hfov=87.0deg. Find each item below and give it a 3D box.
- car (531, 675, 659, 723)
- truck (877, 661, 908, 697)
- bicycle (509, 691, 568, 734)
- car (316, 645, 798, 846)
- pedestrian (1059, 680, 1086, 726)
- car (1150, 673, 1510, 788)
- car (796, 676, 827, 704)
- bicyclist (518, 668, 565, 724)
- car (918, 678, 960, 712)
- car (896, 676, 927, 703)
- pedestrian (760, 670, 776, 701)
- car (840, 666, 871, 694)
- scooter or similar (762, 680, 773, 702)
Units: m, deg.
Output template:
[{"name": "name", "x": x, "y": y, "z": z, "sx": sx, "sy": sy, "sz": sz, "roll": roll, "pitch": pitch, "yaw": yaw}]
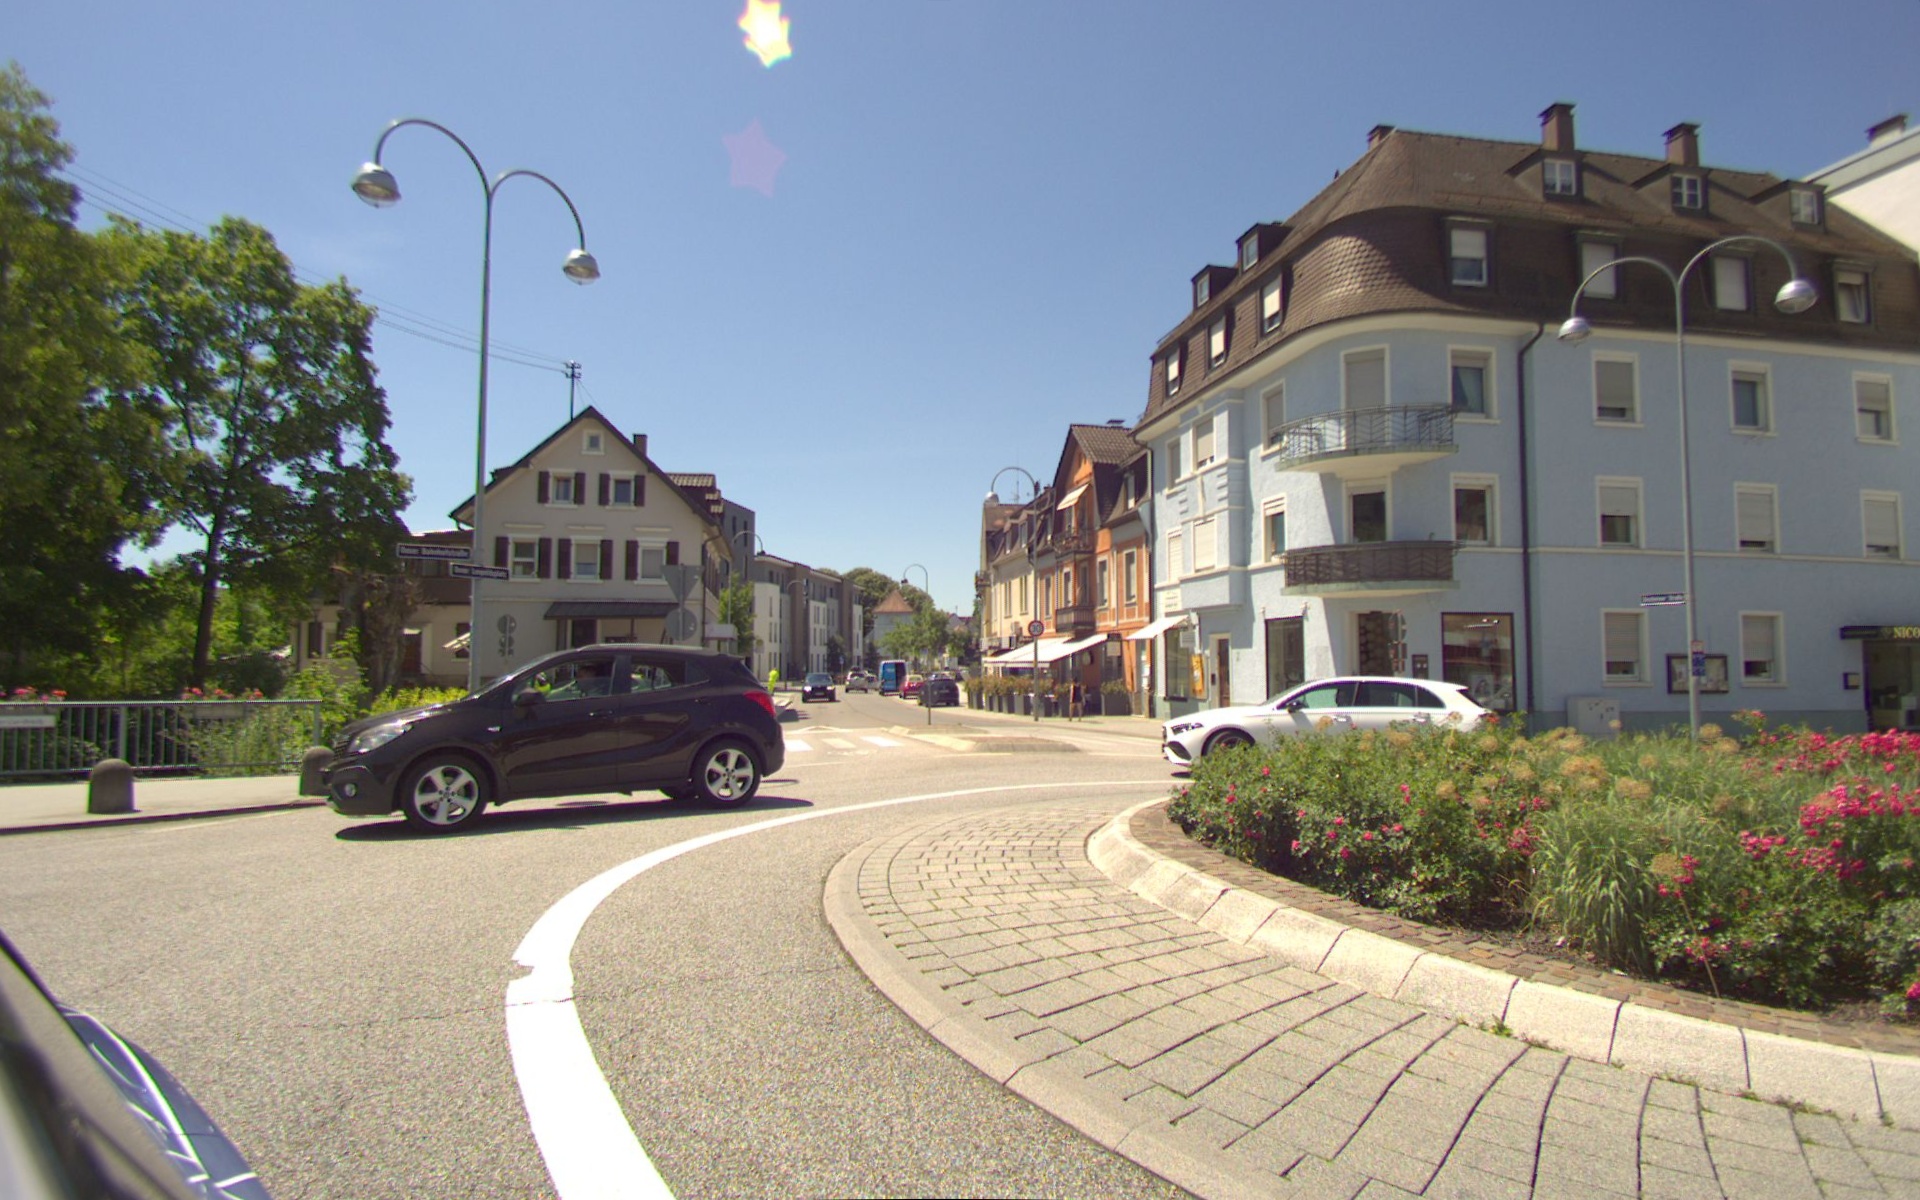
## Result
[{"name": "car", "x": -12.863, "y": 3.502, "z": 35.865, "sx": 3.936, "sy": 1.608, "sz": 1.798, "roll": 2, "pitch": -6, "yaw": -8}, {"name": "truck", "x": -4.860, "y": 5.632, "z": 72.385, "sx": 1.931, "sy": 2.388, "sz": 4.343, "roll": -1, "pitch": -4, "yaw": -7}, {"name": "bicycle", "x": -12.912, "y": 3.440, "z": 31.001, "sx": 1.850, "sy": 1.164, "sz": 0.800, "roll": -1, "pitch": -8, "yaw": 39}, {"name": "car", "x": -3.928, "y": 1.312, "z": 10.036, "sx": 4.096, "sy": 1.574, "sz": 2.005, "roll": 1, "pitch": -7, "yaw": -33}, {"name": "pedestrian", "x": 3.844, "y": 3.515, "z": 34.631, "sx": 0.618, "sy": 1.536, "sz": 0.805, "roll": -1, "pitch": -4, "yaw": -13}, {"name": "car", "x": 4.839, "y": 1.776, "z": 13.797, "sx": 4.249, "sy": 1.392, "sz": 1.923, "roll": -2, "pitch": -8, "yaw": 16}, {"name": "car", "x": -8.754, "y": 5.285, "z": 59.678, "sx": 1.727, "sy": 1.558, "sz": 3.599, "roll": -1, "pitch": -4, "yaw": -8}, {"name": "bicyclist", "x": -12.831, "y": 2.943, "z": 31.024, "sx": 1.062, "sy": 1.647, "sz": 0.799, "roll": -2, "pitch": -8, "yaw": 41}, {"name": "car", "x": -1.109, "y": 4.801, "z": 51.411, "sx": 1.657, "sy": 1.558, "sz": 3.952, "roll": -1, "pitch": -4, "yaw": -7}, {"name": "car", "x": -3.130, "y": 5.713, "z": 64.856, "sx": 1.657, "sy": 1.558, "sz": 3.599, "roll": -1, "pitch": -4, "yaw": -7}, {"name": "pedestrian", "x": -12.654, "y": 5.630, "z": 66.681, "sx": 0.907, "sy": 2.046, "sz": 0.901, "roll": 1, "pitch": -4, "yaw": -4}, {"name": "car", "x": -8.317, "y": 6.357, "z": 80.678, "sx": 1.904, "sy": 2.124, "sz": 4.449, "roll": 2, "pitch": -4, "yaw": 0}, {"name": "scooter or similar", "x": -12.667, "y": 5.967, "z": 66.628, "sx": 0.519, "sy": 1.384, "sz": 1.348, "roll": 1, "pitch": -4, "yaw": -4}]
